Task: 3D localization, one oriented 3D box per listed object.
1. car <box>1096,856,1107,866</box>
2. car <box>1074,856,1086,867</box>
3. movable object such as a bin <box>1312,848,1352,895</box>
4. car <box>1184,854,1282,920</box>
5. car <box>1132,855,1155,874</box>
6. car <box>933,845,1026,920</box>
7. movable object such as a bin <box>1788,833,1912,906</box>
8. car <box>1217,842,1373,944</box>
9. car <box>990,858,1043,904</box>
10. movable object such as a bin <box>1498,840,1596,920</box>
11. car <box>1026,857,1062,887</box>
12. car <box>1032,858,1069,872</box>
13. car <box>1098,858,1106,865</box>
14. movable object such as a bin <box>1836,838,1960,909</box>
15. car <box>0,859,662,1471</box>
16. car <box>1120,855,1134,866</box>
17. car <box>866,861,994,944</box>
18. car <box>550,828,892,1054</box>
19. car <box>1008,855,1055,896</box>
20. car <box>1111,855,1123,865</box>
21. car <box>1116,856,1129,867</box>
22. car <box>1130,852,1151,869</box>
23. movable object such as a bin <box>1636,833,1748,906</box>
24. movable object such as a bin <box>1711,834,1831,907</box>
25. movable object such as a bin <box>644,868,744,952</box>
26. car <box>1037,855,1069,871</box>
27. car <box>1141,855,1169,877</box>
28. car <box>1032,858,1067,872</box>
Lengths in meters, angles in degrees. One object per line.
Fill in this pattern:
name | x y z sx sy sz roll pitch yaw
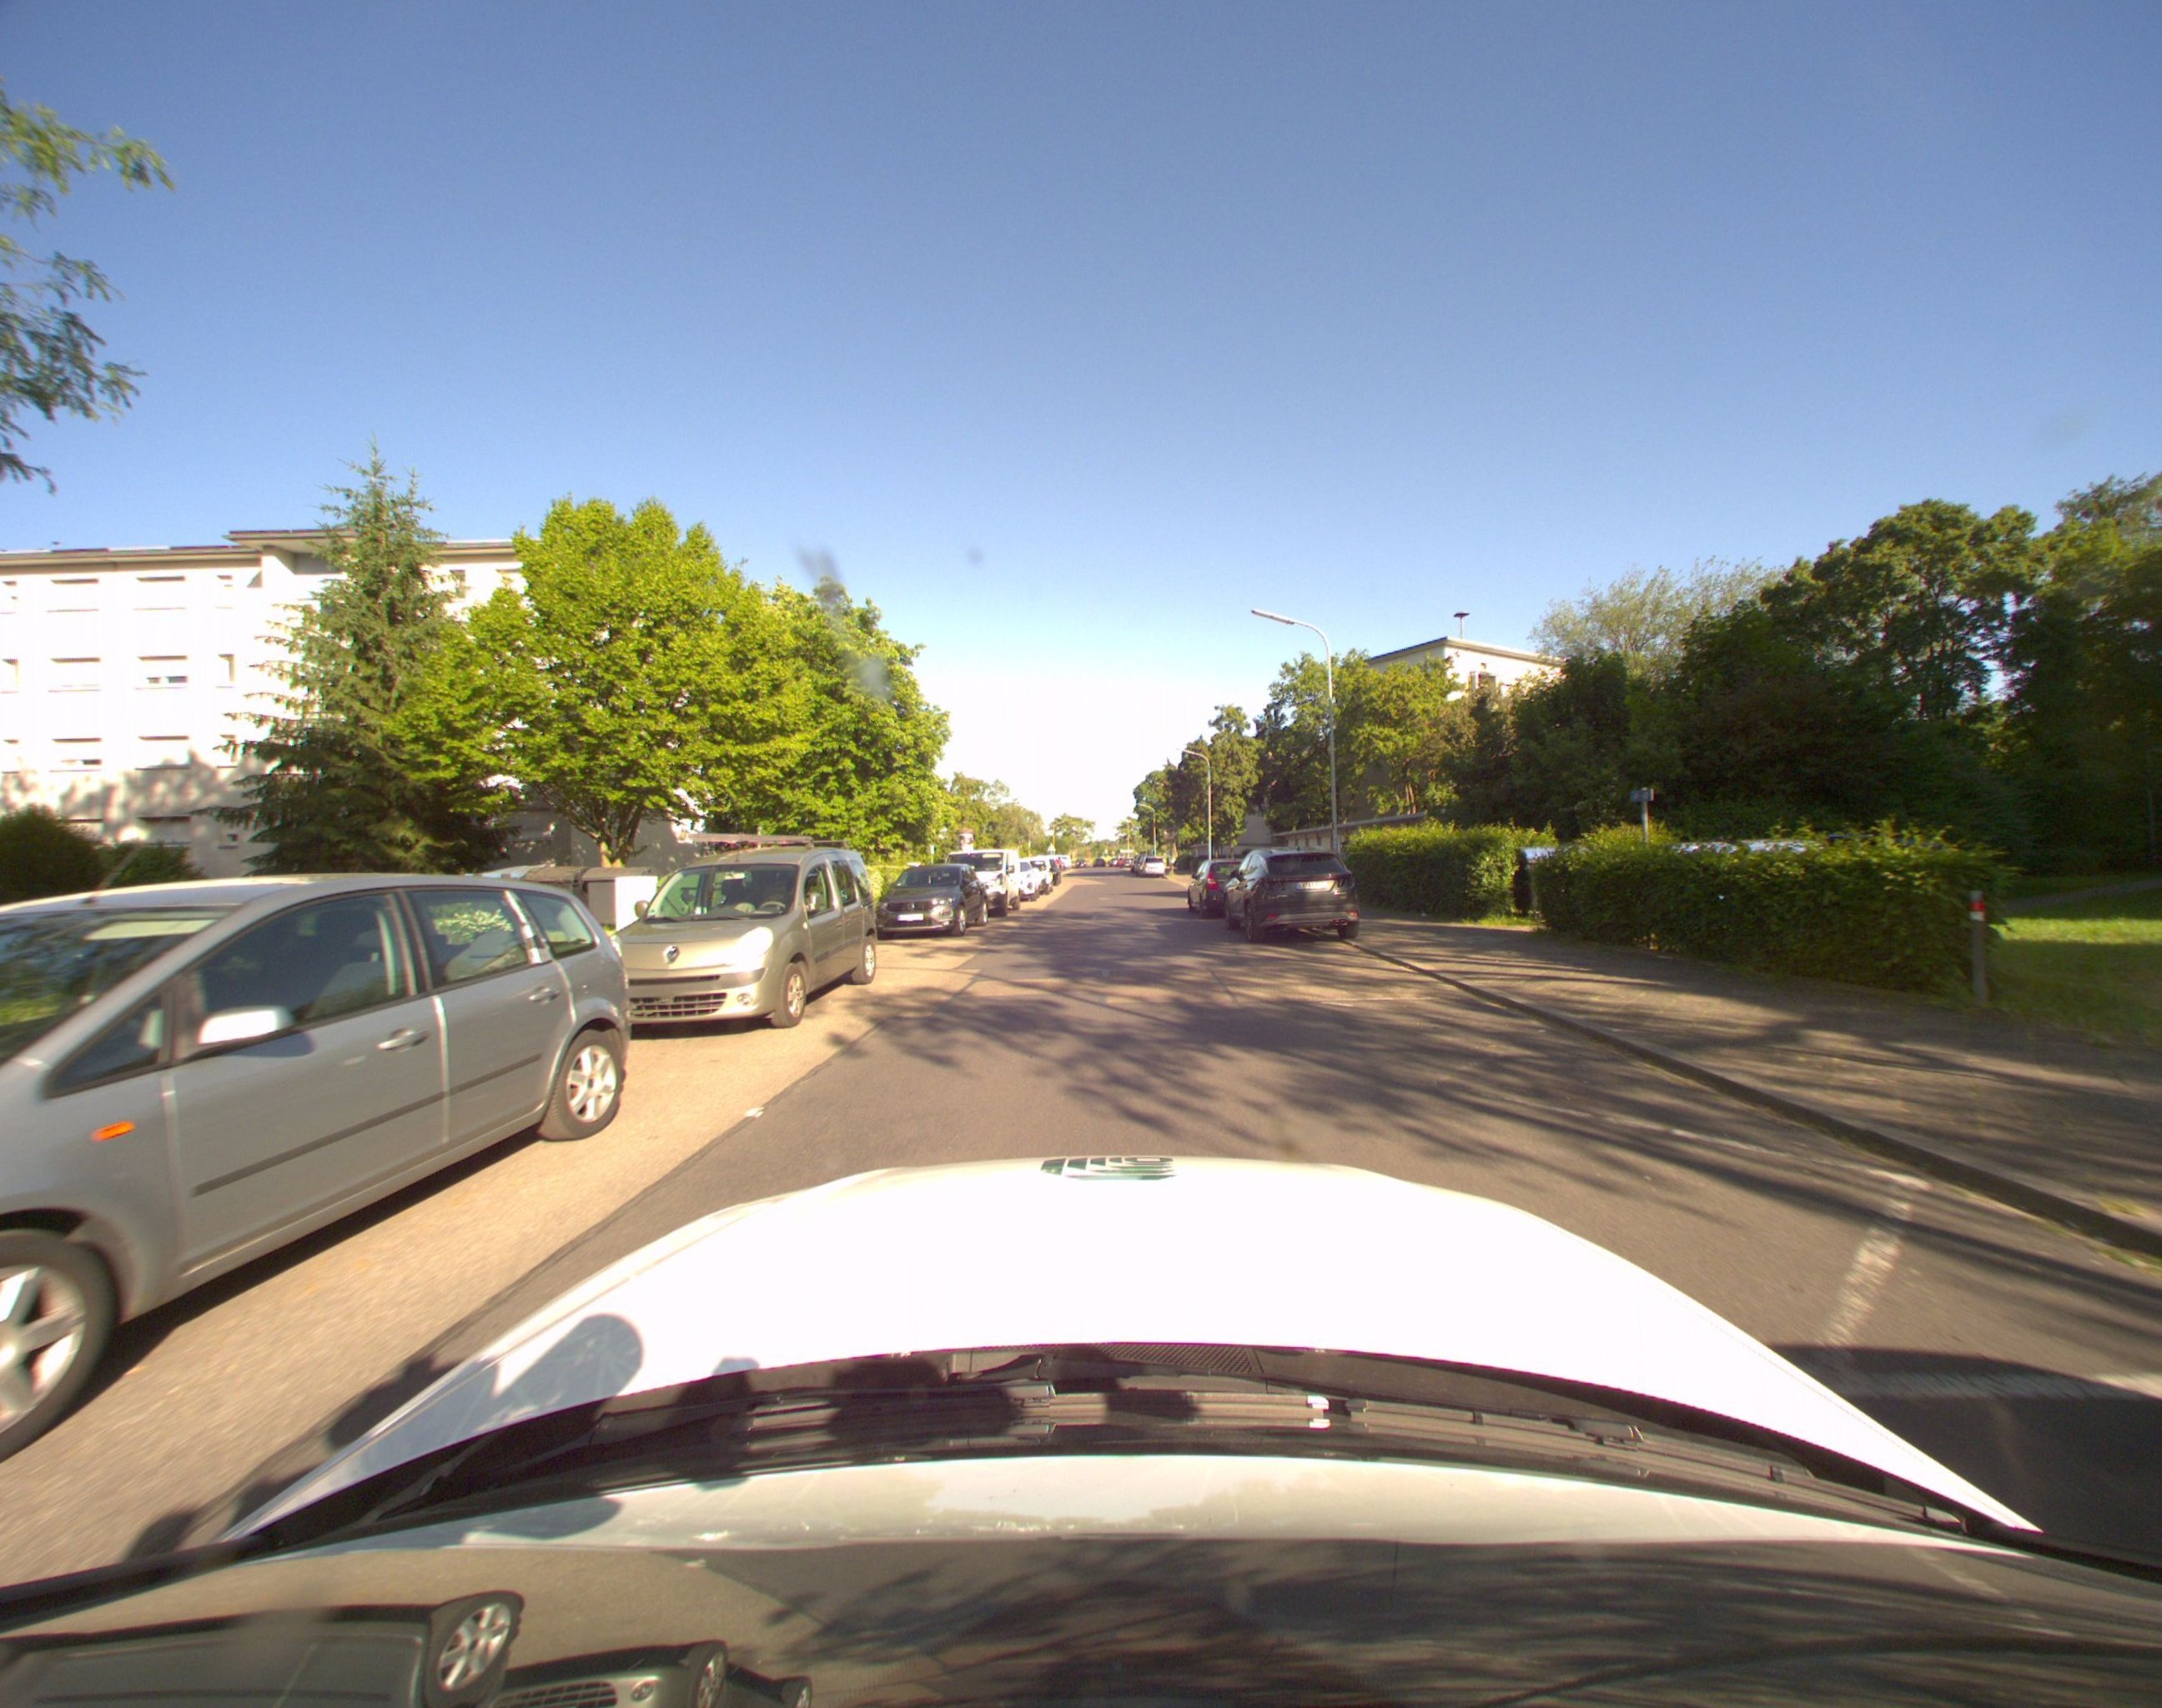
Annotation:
car | 3.295 1.132 132.133 1.674 1.513 4.103 0 0 0
car | -0.115 1.148 127.619 1.790 1.561 3.950 0 0 0
movable object such as a bin | 8.095 0.559 26.359 0.914 1.454 1.233 -2 0 2
car | 3.856 0.775 21.336 1.900 1.531 4.330 -1 0 2
car | 5.906 0.956 77.456 1.790 1.786 3.950 0 0 0
car | -2.920 0.772 24.620 1.907 1.962 5.090 -3 0 2
movable object such as a bin | 15.078 0.295 16.011 1.253 1.353 1.276 -1 0 -7
car | 3.867 0.638 15.580 1.900 1.639 4.630 -1 0 2
car | -2.537 1.023 32.920 1.741 1.669 4.376 -3 0 -1
movable object such as a bin | 9.032 0.488 15.846 1.317 1.475 1.092 -1 0 6
car | -2.169 1.057 48.462 1.740 1.613 4.309 -3 0 2
car | -3.396 1.236 91.275 4.045 1.561 1.799 0 0 -3
car | 4.644 1.647 180.093 1.790 1.643 3.950 0 0 0
movable object such as a bin | 16.520 0.371 16.503 1.254 1.353 1.275 -1 0 -9
car | -3.737 0.884 3.491 1.704 1.600 3.985 -4 0 0
car | 6.605 0.889 116.748 1.790 1.548 3.950 0 0 0
car | -3.207 0.969 18.164 1.738 1.533 4.144 -3 0 4
car | -3.652 0.765 9.320 1.848 1.892 4.418 -3 0 0
car | -2.267 0.973 38.400 1.740 1.732 4.007 -3 0 2
car | 5.841 1.040 134.098 1.790 1.643 3.950 0 0 0
car | 6.271 1.069 124.085 1.790 1.643 3.950 0 0 0
car | 6.005 0.645 82.027 1.790 1.643 3.950 0 0 0
movable object such as a bin | 11.989 0.292 16.039 1.250 1.353 1.279 -1 0 1
movable object such as a bin | 13.371 0.311 15.842 1.250 1.353 1.279 -1 0 1
movable object such as a bin | -7.044 0.984 14.907 1.097 1.420 1.361 1 0 2
car | -3.606 1.183 103.852 4.045 1.992 1.799 0 0 -3
car | 5.550 0.889 61.499 1.790 1.561 3.950 0 0 0
car | -3.713 1.267 95.325 4.045 1.561 1.799 0 0 -3
